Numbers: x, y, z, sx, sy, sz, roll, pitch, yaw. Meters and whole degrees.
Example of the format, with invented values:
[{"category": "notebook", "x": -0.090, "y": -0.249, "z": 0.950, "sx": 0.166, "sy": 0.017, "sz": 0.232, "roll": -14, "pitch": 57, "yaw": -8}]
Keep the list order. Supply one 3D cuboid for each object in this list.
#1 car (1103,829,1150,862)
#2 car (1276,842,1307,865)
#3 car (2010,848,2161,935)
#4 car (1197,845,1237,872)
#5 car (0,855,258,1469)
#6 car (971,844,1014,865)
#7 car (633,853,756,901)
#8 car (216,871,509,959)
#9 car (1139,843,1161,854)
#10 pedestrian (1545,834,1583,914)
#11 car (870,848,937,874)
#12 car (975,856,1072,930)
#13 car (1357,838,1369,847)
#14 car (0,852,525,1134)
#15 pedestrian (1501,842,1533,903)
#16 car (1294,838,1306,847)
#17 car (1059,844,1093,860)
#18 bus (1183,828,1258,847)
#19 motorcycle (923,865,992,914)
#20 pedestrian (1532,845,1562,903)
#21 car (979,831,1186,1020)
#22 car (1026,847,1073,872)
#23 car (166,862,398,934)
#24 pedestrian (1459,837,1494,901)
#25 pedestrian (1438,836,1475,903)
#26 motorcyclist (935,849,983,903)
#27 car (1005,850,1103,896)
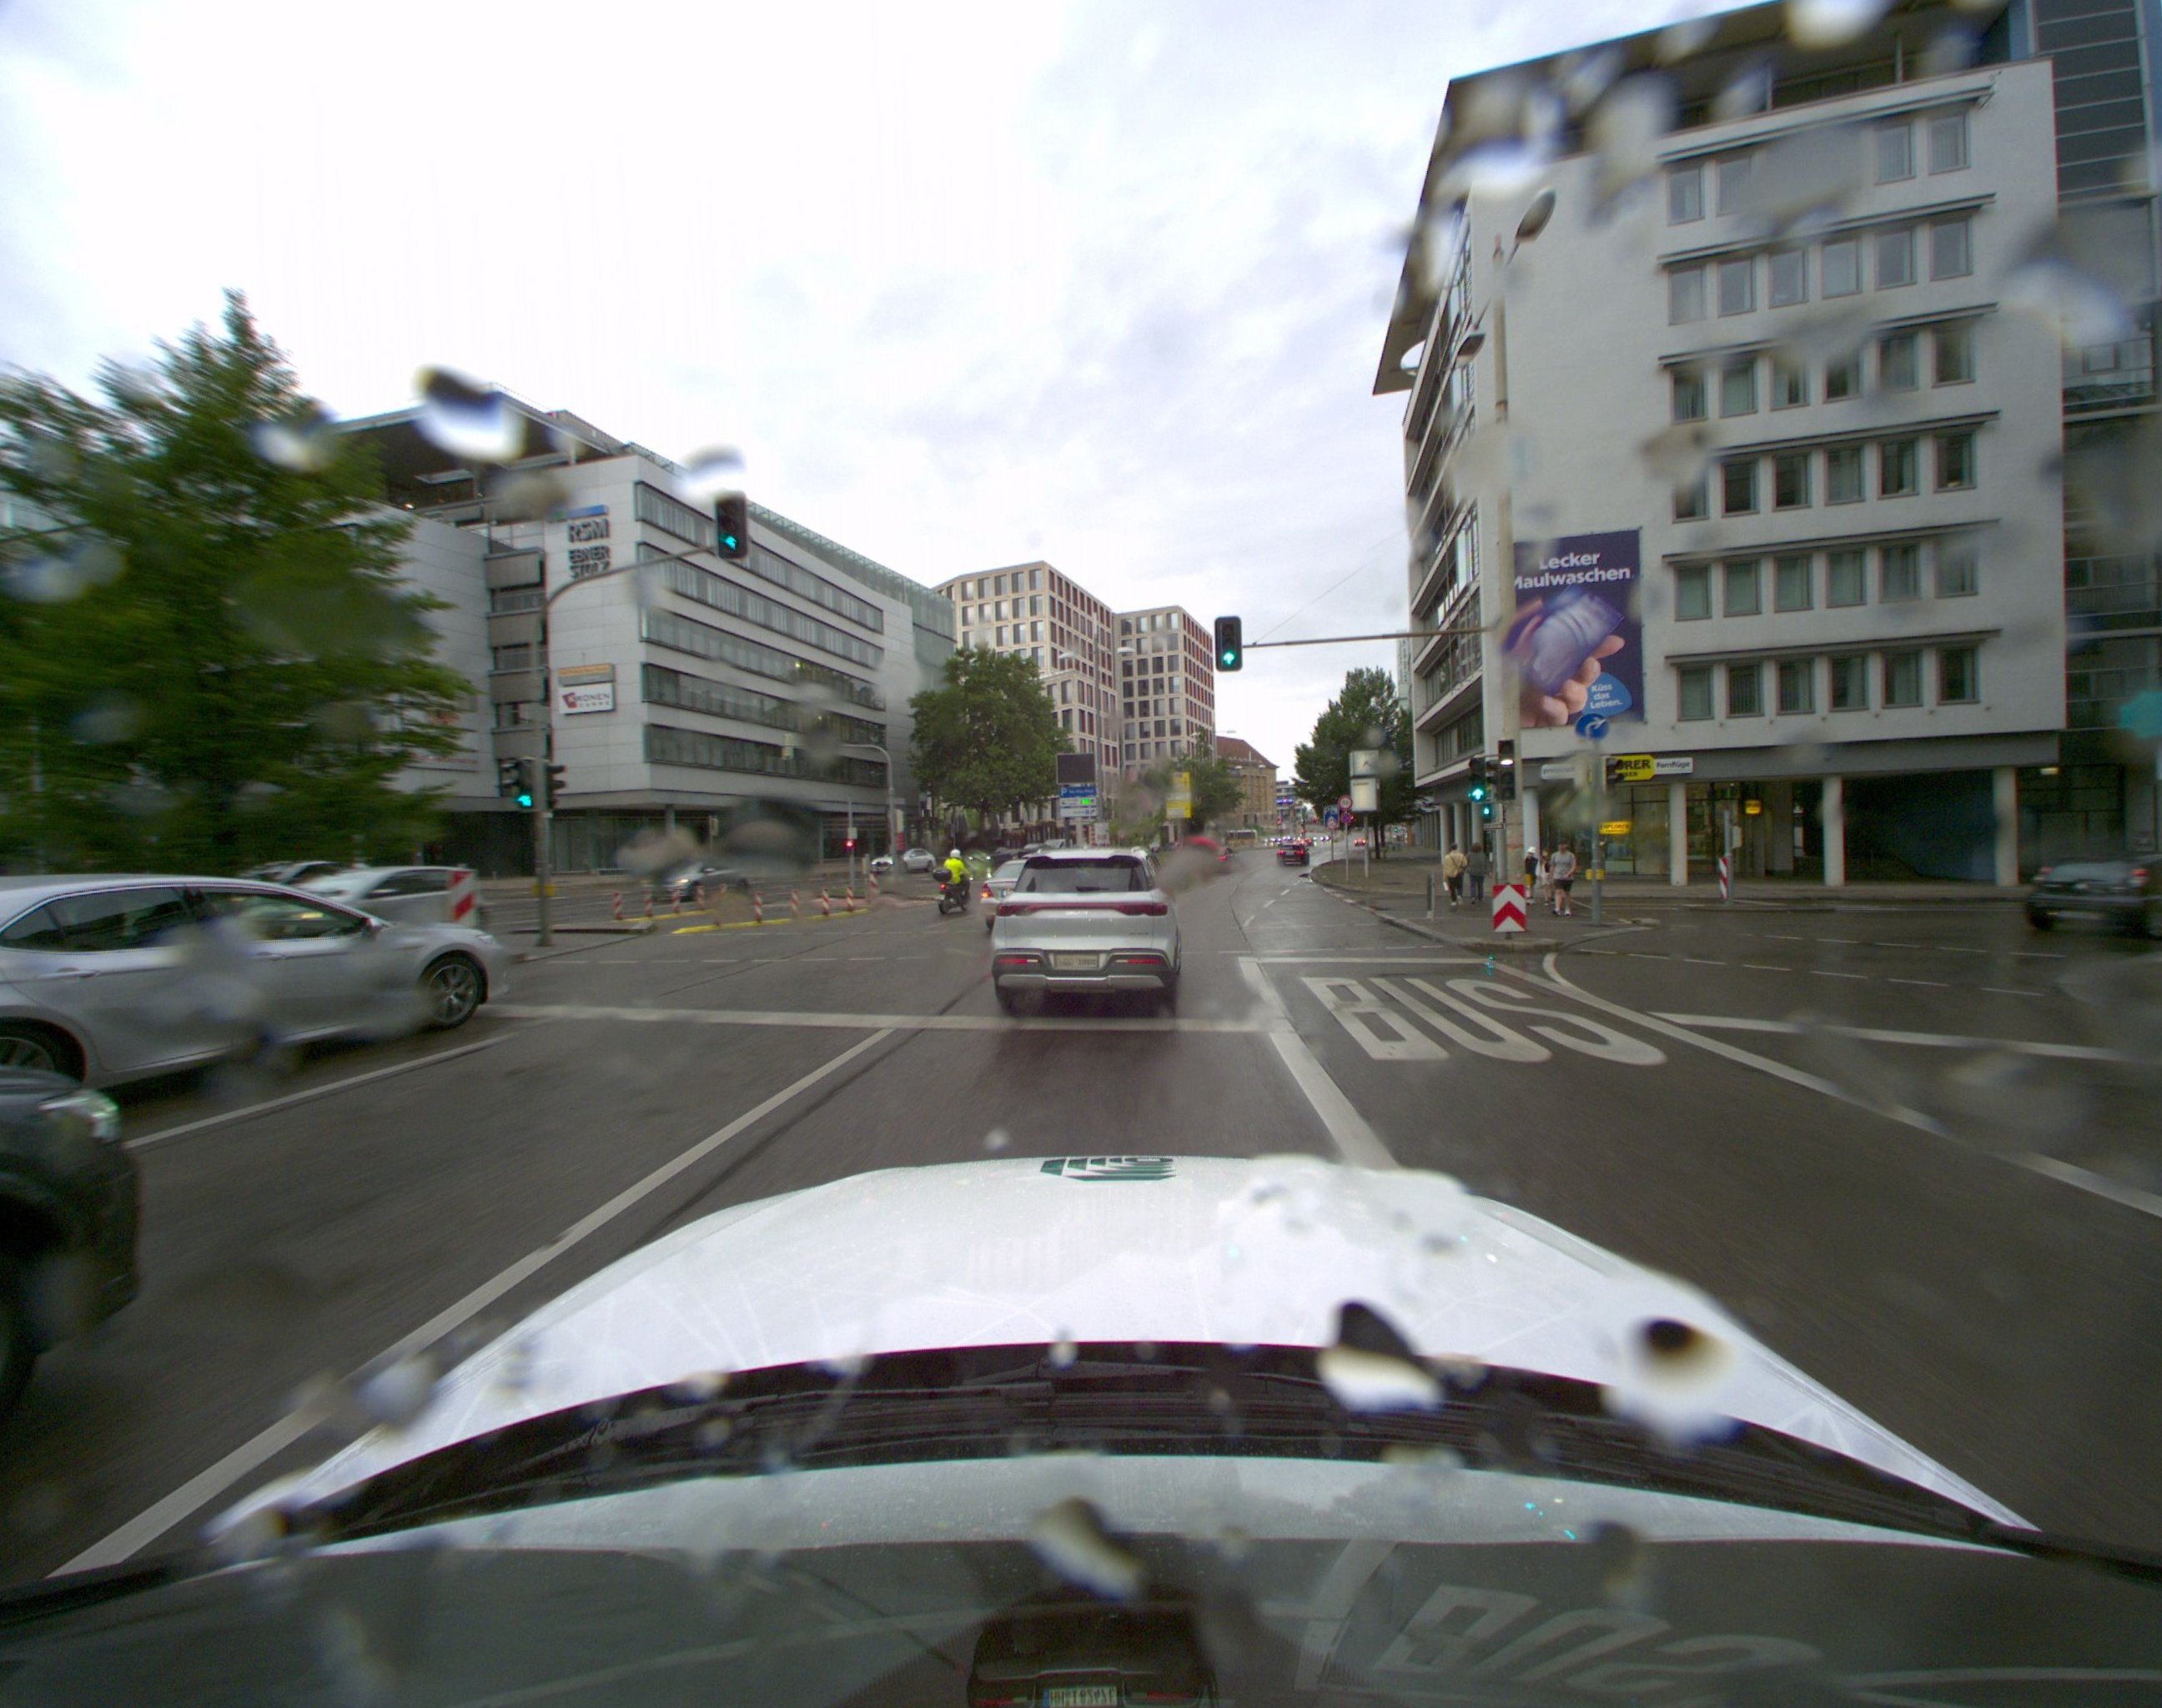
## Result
[{"category": "car", "x": 3.075, "y": -0.512, "z": 53.544, "sx": 1.978, "sy": 2.014, "sz": 4.870, "roll": -1, "pitch": -1, "yaw": 17}, {"category": "car", "x": 14.253, "y": -0.031, "z": 55.013, "sx": 1.680, "sy": 1.486, "sz": 4.019, "roll": -1, "pitch": -1, "yaw": 19}, {"category": "car", "x": 19.164, "y": 0.625, "z": 14.366, "sx": 3.979, "sy": 1.429, "sz": 1.573, "roll": 0, "pitch": -1, "yaw": -4}, {"category": "car", "x": 7.911, "y": 0.300, "z": 47.151, "sx": 1.557, "sy": 1.486, "sz": 4.020, "roll": -1, "pitch": -1, "yaw": 20}, {"category": "car", "x": -3.547, "y": 0.769, "z": 0.511, "sx": 1.642, "sy": 1.521, "sz": 4.273, "roll": 0, "pitch": 0, "yaw": 1}, {"category": "car", "x": -6.928, "y": 0.015, "z": 64.169, "sx": 1.618, "sy": 1.559, "sz": 4.614, "roll": -1, "pitch": 1, "yaw": 17}, {"category": "car", "x": -13.640, "y": 0.766, "z": 29.034, "sx": 1.631, "sy": 1.581, "sz": 4.103, "roll": -1, "pitch": 0, "yaw": 16}, {"category": "car", "x": -13.023, "y": 1.022, "z": 15.129, "sx": 1.680, "sy": 1.385, "sz": 3.877, "roll": 0, "pitch": -1, "yaw": 8}, {"category": "car", "x": 9.537, "y": -0.768, "z": 112.533, "sx": 1.976, "sy": 1.488, "sz": 4.021, "roll": -1, "pitch": 1, "yaw": 21}, {"category": "pedestrian", "x": 11.164, "y": 0.456, "z": 18.818, "sx": 0.662, "sy": 1.794, "sz": 0.778, "roll": -1, "pitch": 0, "yaw": 37}, {"category": "car", "x": -11.178, "y": 0.412, "z": 51.599, "sx": 1.799, "sy": 1.510, "sz": 5.219, "roll": -1, "pitch": 1, "yaw": 17}, {"category": "car", "x": -1.121, "y": 0.770, "z": 17.583, "sx": 1.564, "sy": 1.407, "sz": 4.113, "roll": 0, "pitch": -1, "yaw": 3}, {"category": "car", "x": 50.040, "y": -2.088, "z": 144.676, "sx": 1.678, "sy": 1.486, "sz": 4.022, "roll": -1, "pitch": -1, "yaw": 24}, {"category": "car", "x": -6.658, "y": 0.761, "z": 5.720, "sx": 1.855, "sy": 1.533, "sz": 4.785, "roll": 0, "pitch": 0, "yaw": 6}, {"category": "pedestrian", "x": 12.057, "y": 0.497, "z": 22.512, "sx": 0.662, "sy": 1.655, "sz": 0.657, "roll": -1, "pitch": 0, "yaw": 37}, {"category": "car", "x": 39.139, "y": -2.041, "z": 145.306, "sx": 1.873, "sy": 1.643, "sz": 4.017, "roll": -1, "pitch": 0, "yaw": 16}, {"category": "car", "x": -0.460, "y": -0.241, "z": 80.297, "sx": 1.976, "sy": 1.488, "sz": 4.021, "roll": -1, "pitch": 1, "yaw": 21}, {"category": "bus", "x": 32.513, "y": -3.782, "z": 189.327, "sx": 16.838, "sy": 4.063, "sz": 4.455, "roll": -1, "pitch": -1, "yaw": 15}, {"category": "motorcycle", "x": -3.173, "y": 0.889, "z": 21.149, "sx": 0.793, "sy": 1.185, "sz": 2.039, "roll": -1, "pitch": -1, "yaw": 23}, {"category": "pedestrian", "x": 12.753, "y": 0.537, "z": 22.276, "sx": 0.618, "sy": 1.543, "sz": 0.657, "roll": -1, "pitch": 0, "yaw": 37}, {"category": "car", "x": 0.253, "y": 0.669, "z": 9.333, "sx": 1.765, "sy": 1.679, "sz": 4.010, "roll": -1, "pitch": -1, "yaw": 9}, {"category": "car", "x": -1.889, "y": 0.332, "z": 50.225, "sx": 1.618, "sy": 1.437, "sz": 3.926, "roll": -1, "pitch": 1, "yaw": 17}, {"category": "car", "x": -19.196, "y": 0.991, "z": 19.809, "sx": 1.627, "sy": 1.571, "sz": 3.730, "roll": -1, "pitch": -1, "yaw": 11}, {"category": "pedestrian", "x": 11.361, "y": 0.418, "z": 23.413, "sx": 0.743, "sy": 1.798, "sz": 0.820, "roll": -1, "pitch": 0, "yaw": 14}, {"category": "pedestrian", "x": 10.360, "y": 0.419, "z": 22.485, "sx": 0.743, "sy": 1.798, "sz": 0.820, "roll": -1, "pitch": 0, "yaw": 14}, {"category": "motorcyclist", "x": -3.168, "y": 0.565, "z": 21.225, "sx": 0.763, "sy": 1.380, "sz": 1.124, "roll": -1, "pitch": -1, "yaw": 23}, {"category": "car", "x": -0.851, "y": 0.651, "z": 28.551, "sx": 1.691, "sy": 1.486, "sz": 4.023, "roll": -1, "pitch": -1, "yaw": 27}]
